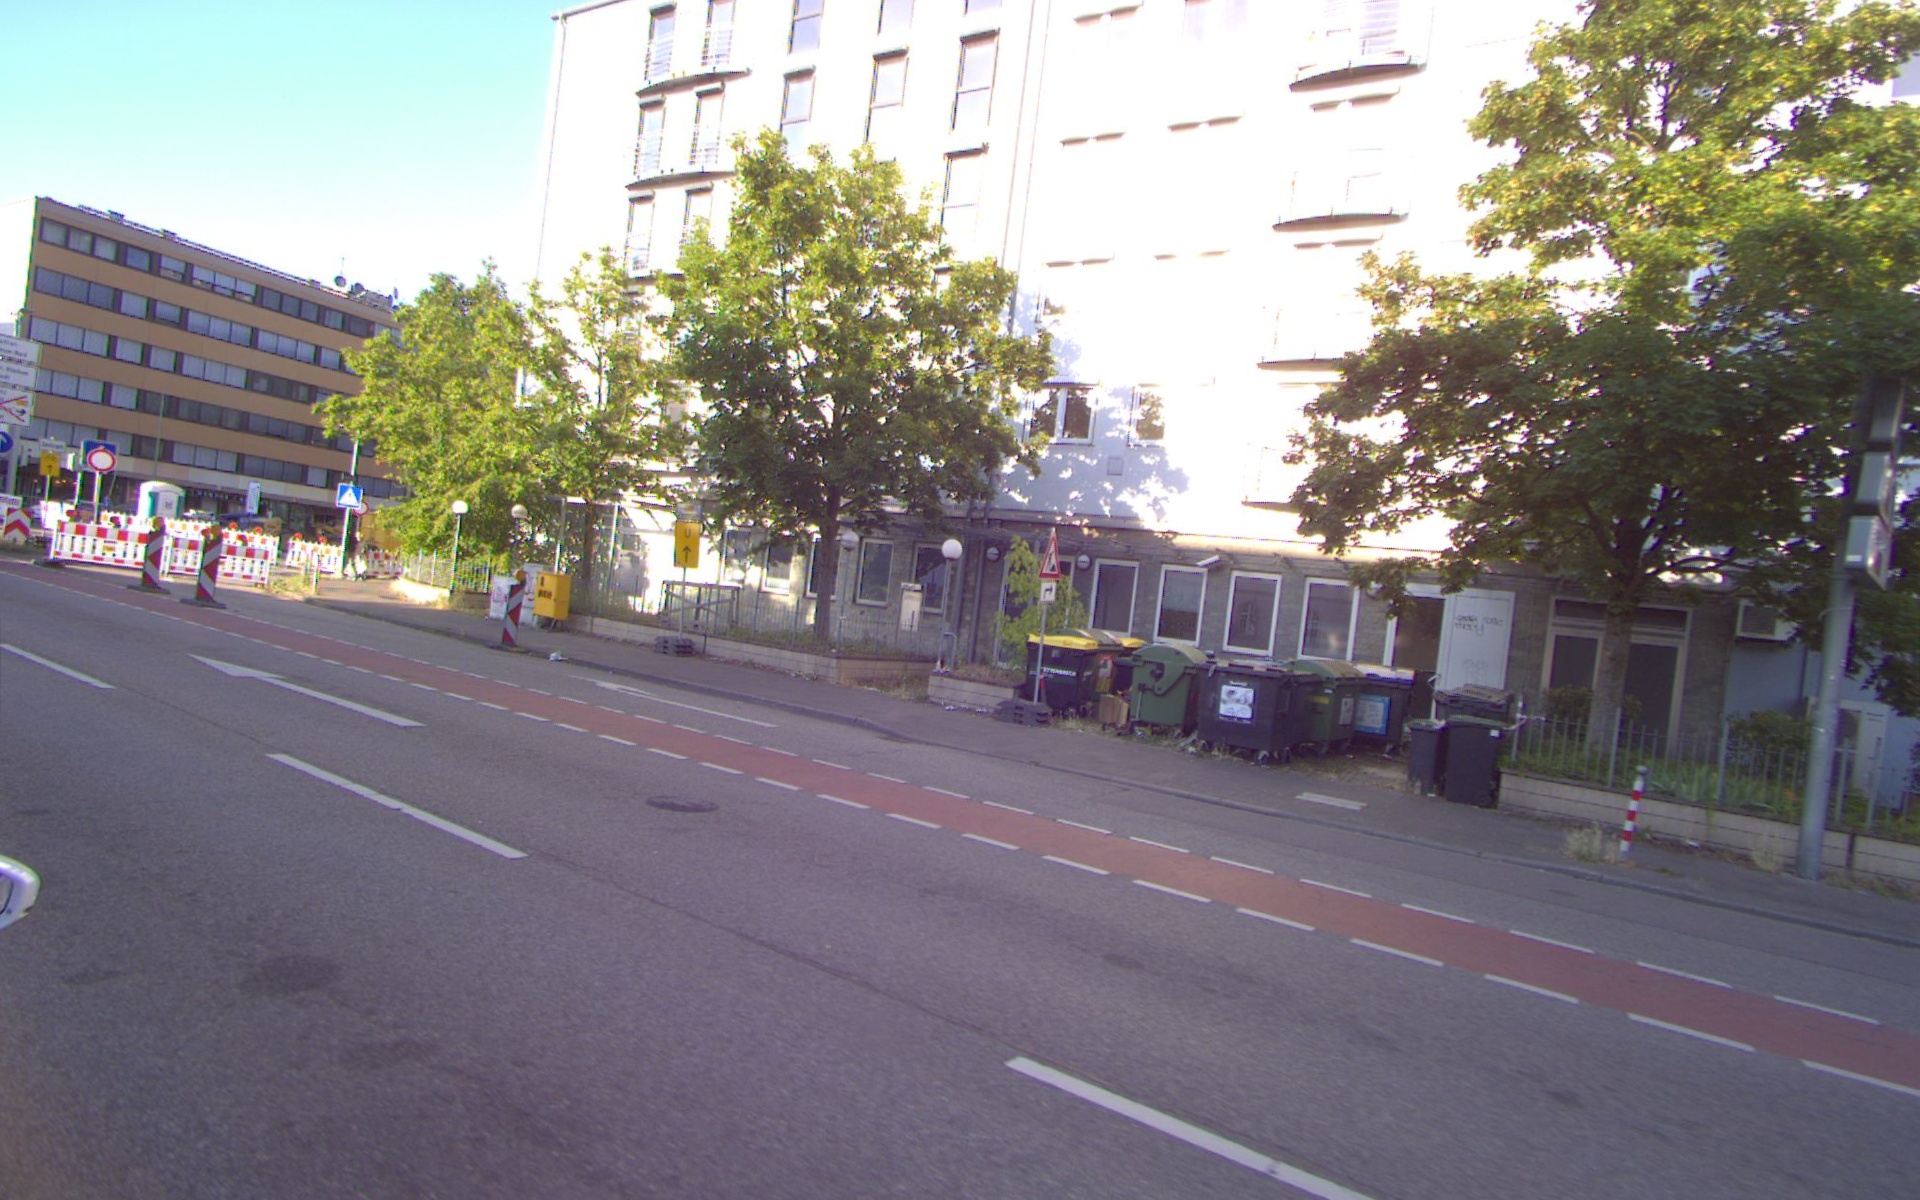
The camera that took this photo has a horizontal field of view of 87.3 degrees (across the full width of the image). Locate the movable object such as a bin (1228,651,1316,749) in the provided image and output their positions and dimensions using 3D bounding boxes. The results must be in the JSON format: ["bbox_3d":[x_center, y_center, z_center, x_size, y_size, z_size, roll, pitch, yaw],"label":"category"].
[{"bbox_3d":[5.532,1.748,17.801,1.142,1.517,1.033,7,0,30],"label":"movable object such as a bin"}]

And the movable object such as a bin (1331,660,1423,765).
[{"bbox_3d":[6.873,1.828,16.563,1.142,1.517,1.033,7,0,30],"label":"movable object such as a bin"}]

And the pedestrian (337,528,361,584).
[{"bbox_3d":[-20.963,-1.494,34.526,0.481,1.857,0.568,7,1,-25],"label":"pedestrian"}]

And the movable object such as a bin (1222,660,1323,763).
[{"bbox_3d":[4.724,1.651,15.188,1.142,1.344,0.955,7,0,30],"label":"movable object such as a bin"}]

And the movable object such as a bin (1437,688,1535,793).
[{"bbox_3d":[7.559,1.983,14.448,1.079,1.299,0.955,7,0,30],"label":"movable object such as a bin"}]

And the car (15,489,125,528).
[{"bbox_3d":[-47.873,-4.906,54.197,1.756,1.437,3.997,7,-1,26],"label":"car"}]

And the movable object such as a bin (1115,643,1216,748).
[{"bbox_3d":[3.252,1.476,15.850,1.087,1.441,1.350,7,0,28],"label":"movable object such as a bin"}]

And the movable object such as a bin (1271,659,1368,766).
[{"bbox_3d":[5.677,1.749,15.863,1.142,1.467,1.033,7,0,30],"label":"movable object such as a bin"}]

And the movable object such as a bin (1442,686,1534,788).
[{"bbox_3d":[8.040,2.053,15.319,1.079,1.344,0.955,7,0,30],"label":"movable object such as a bin"}]

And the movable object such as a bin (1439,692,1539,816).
[{"bbox_3d":[6.635,1.893,12.612,0.938,1.344,0.955,7,0,30],"label":"movable object such as a bin"}]

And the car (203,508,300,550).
[{"bbox_3d":[-42.368,-4.209,60.257,1.967,1.839,4.220,7,0,33],"label":"car"}]

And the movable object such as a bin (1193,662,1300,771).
[{"bbox_3d":[4.091,1.632,14.332,1.142,1.344,0.955,7,0,30],"label":"movable object such as a bin"}]

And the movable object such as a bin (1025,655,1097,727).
[{"bbox_3d":[1.657,1.480,16.497,0.805,1.058,0.852,7,0,28],"label":"movable object such as a bin"}]

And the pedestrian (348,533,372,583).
[{"bbox_3d":[-21.008,-1.464,35.224,0.448,1.692,0.600,7,1,-22],"label":"pedestrian"}]

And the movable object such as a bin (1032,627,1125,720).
[{"bbox_3d":[2.149,1.316,18.117,1.087,1.479,1.350,7,0,28],"label":"movable object such as a bin"}]

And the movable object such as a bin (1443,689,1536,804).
[{"bbox_3d":[7.096,1.923,13.479,0.938,1.344,0.955,7,0,30],"label":"movable object such as a bin"}]
